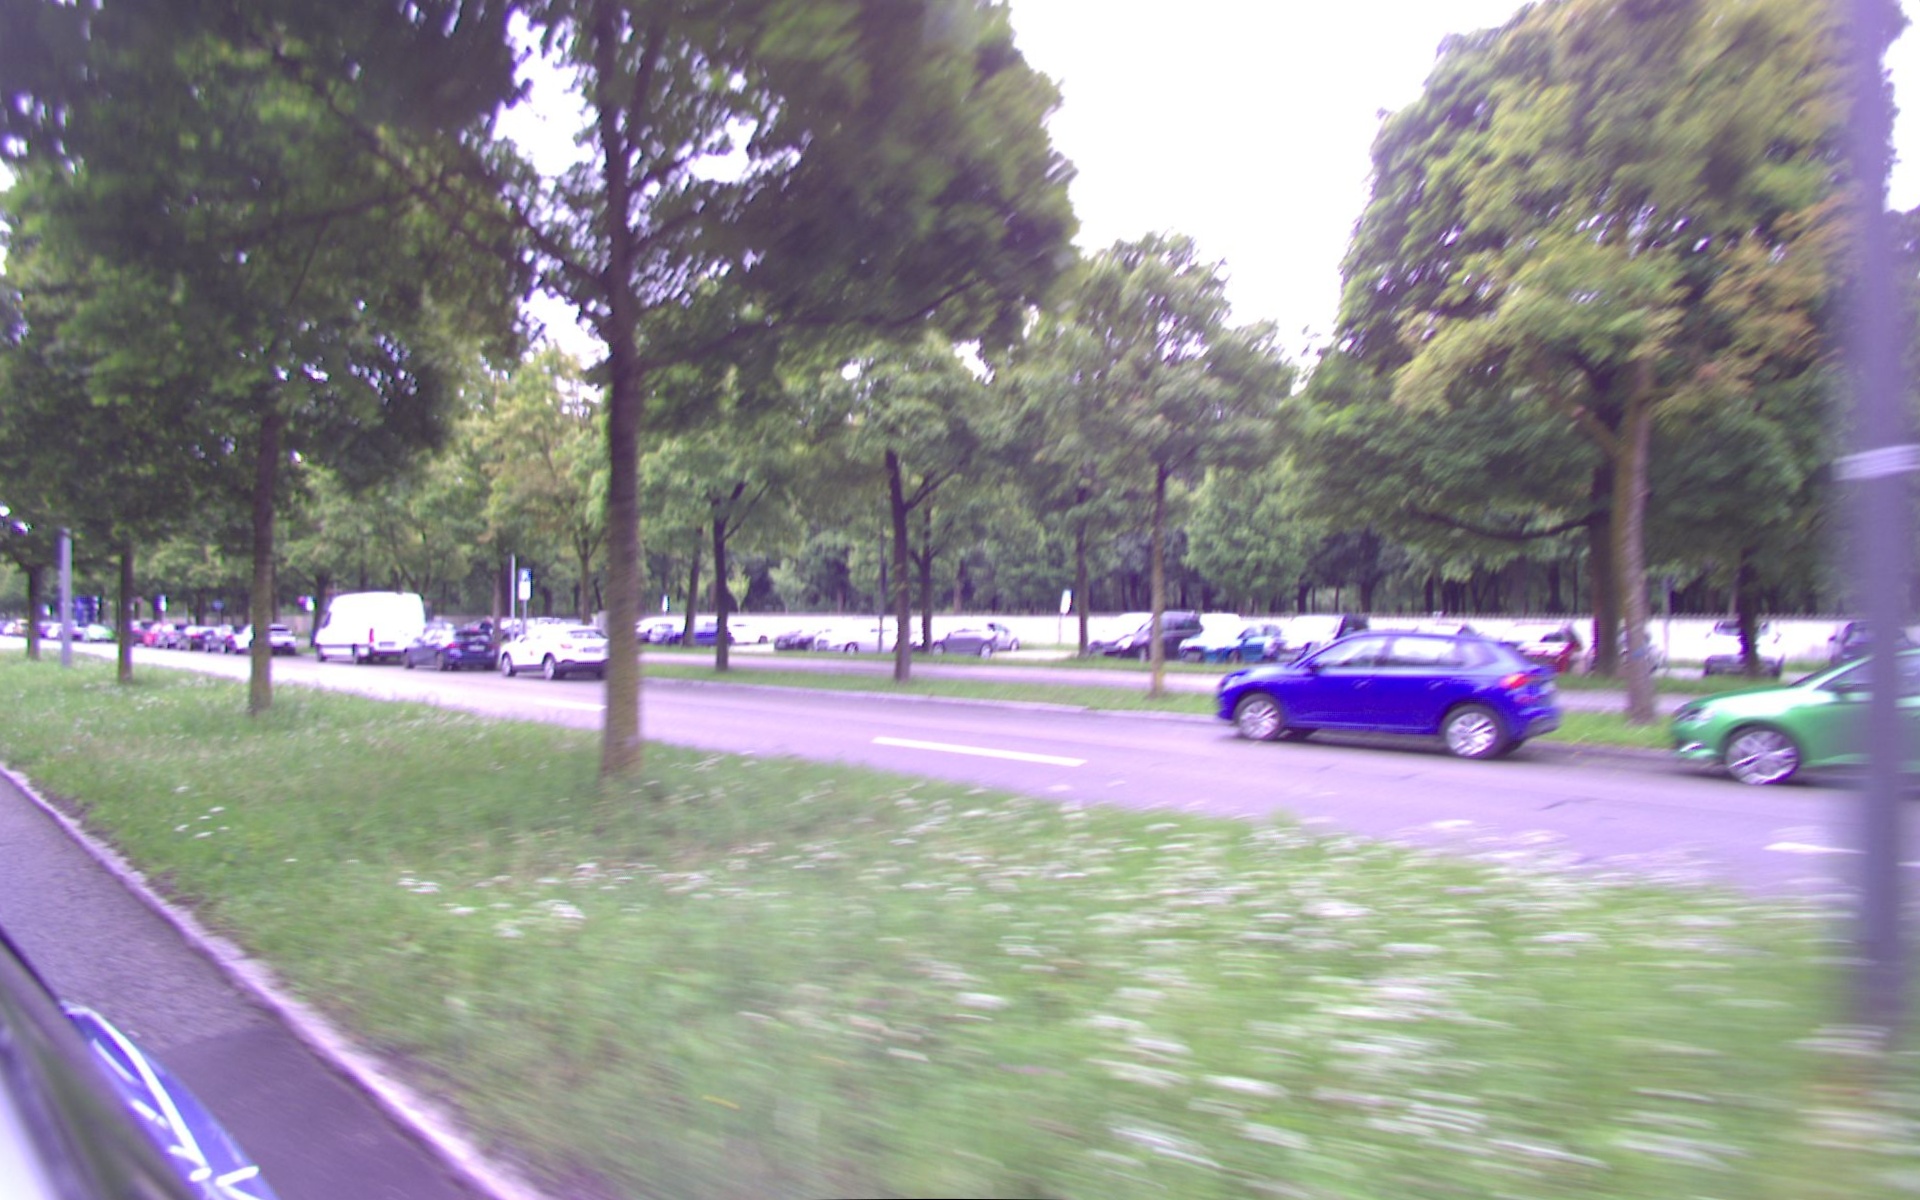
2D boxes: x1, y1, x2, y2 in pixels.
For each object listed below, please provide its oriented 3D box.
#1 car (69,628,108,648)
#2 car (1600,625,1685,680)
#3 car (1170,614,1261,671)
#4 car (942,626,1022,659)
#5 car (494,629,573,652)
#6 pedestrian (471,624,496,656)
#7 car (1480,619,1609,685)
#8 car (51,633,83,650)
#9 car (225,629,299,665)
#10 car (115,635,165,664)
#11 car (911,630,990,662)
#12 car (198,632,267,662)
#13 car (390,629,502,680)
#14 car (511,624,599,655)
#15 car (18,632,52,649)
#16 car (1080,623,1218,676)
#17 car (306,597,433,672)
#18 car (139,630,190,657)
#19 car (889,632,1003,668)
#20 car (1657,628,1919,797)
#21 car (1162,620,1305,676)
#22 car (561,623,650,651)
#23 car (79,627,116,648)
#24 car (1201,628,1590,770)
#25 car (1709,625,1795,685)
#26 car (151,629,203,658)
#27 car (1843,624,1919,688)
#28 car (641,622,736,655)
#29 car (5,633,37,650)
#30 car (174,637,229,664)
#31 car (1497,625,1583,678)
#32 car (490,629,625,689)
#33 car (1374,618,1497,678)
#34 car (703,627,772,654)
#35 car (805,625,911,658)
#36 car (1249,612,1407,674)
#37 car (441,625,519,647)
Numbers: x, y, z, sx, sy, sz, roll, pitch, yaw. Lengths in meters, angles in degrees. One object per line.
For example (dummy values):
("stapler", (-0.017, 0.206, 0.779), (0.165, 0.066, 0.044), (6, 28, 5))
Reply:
("car", (-72.602, 3.155, 84.285), (4.454, 1.643, 1.802), (-2, -3, 41))
("car", (21.957, 1.636, 32.493), (1.814, 1.548, 3.946), (-2, 0, 40))
("car", (11.116, 1.792, 43.912), (1.999, 2.049, 4.460), (-2, 2, 41))
("car", (1.115, 2.091, 50.884), (3.940, 1.608, 1.771), (1, -2, -44))
("car", (-24.642, 2.346, 58.635), (1.686, 1.268, 3.953), (-1, -2, 35))
("pedestrian", (-22.724, 1.892, 48.233), (0.856, 1.507, 0.786), (-2, -2, 42))
("car", (13.686, 1.159, 23.584), (1.758, 1.403, 4.367), (-1, -2, 41))
("car", (-77.320, 3.601, 87.582), (3.686, 1.433, 1.632), (-2, -5, 42))
("car", (-33.330, 2.220, 48.289), (4.296, 1.539, 1.803), (0, -3, 40))
("car", (-53.532, 3.207, 66.042), (4.236, 1.712, 1.803), (0, -1, 40))
("car", (-0.474, 2.357, 52.461), (3.940, 1.608, 1.771), (1, -2, -44))
("car", (-37.240, 2.397, 51.765), (3.995, 1.459, 1.804), (-1, -3, 39))
("car", (-17.242, 1.777, 33.870), (4.249, 1.502, 1.838), (0, -1, 40))
("car", (-21.383, 2.041, 53.481), (1.814, 1.582, 3.943), (-2, -2, 43))
("car", (-94.016, 4.119, 102.831), (4.037, 1.628, 1.982), (-1, -3, 39))
("car", (5.869, 1.487, 31.326), (3.934, 1.516, 2.005), (1, -2, -35))
("car", (-22.961, 1.357, 39.170), (7.102, 2.664, 2.117), (-2, -4, 42))
("car", (-49.509, 2.681, 62.960), (3.807, 1.490, 1.803), (0, -1, 40))
("car", (-0.455, 1.806, 37.098), (1.784, 1.219, 4.126), (-2, -2, 44))
("car", (9.473, 1.075, 9.807), (4.312, 1.549, 1.621), (-2, -5, 41))
("car", (8.045, 1.366, 29.700), (3.934, 1.516, 2.005), (1, -2, -35))
("car", (-18.178, 1.880, 51.985), (1.815, 1.349, 3.942), (-2, -2, 44))
("car", (-66.673, 2.898, 78.208), (3.999, 1.511, 1.622), (-2, -4, 43))
("car", (5.530, 1.180, 13.155), (4.311, 1.549, 1.867), (-1, -4, 40))
("car", (23.526, 1.564, 30.002), (1.814, 1.548, 3.946), (-2, 0, 40))
("car", (-46.227, 2.529, 59.710), (4.112, 1.611, 1.801), (-1, -2, 43))
("car", (25.919, 1.509, 28.273), (1.814, 1.548, 3.946), (-2, 0, 40))
("car", (-12.799, 1.797, 47.841), (3.940, 1.449, 1.816), (1, -2, -44))
("car", (-99.219, 4.406, 106.958), (4.529, 1.784, 1.838), (-1, -3, 39))
("car", (-41.959, 2.802, 55.953), (4.001, 1.420, 1.801), (-2, -4, 44))
("car", (19.707, 1.695, 34.305), (1.814, 1.548, 3.946), (-2, 0, 40))
("car", (-11.429, 1.612, 28.619), (4.139, 1.502, 1.838), (0, -1, 40))
("car", (12.039, 1.164, 25.508), (1.758, 1.403, 3.935), (-1, -2, 41))
("car", (-14.085, 2.520, 64.284), (3.940, 1.666, 1.771), (1, -2, -44))
("car", (-3.952, 1.608, 39.594), (1.784, 1.219, 3.941), (-2, -2, 44))
("car", (9.876, 1.117, 27.053), (4.293, 1.516, 2.004), (1, -2, -38))
("car", (-29.214, 2.175, 61.650), (1.737, 1.293, 3.951), (-1, -2, 36))
